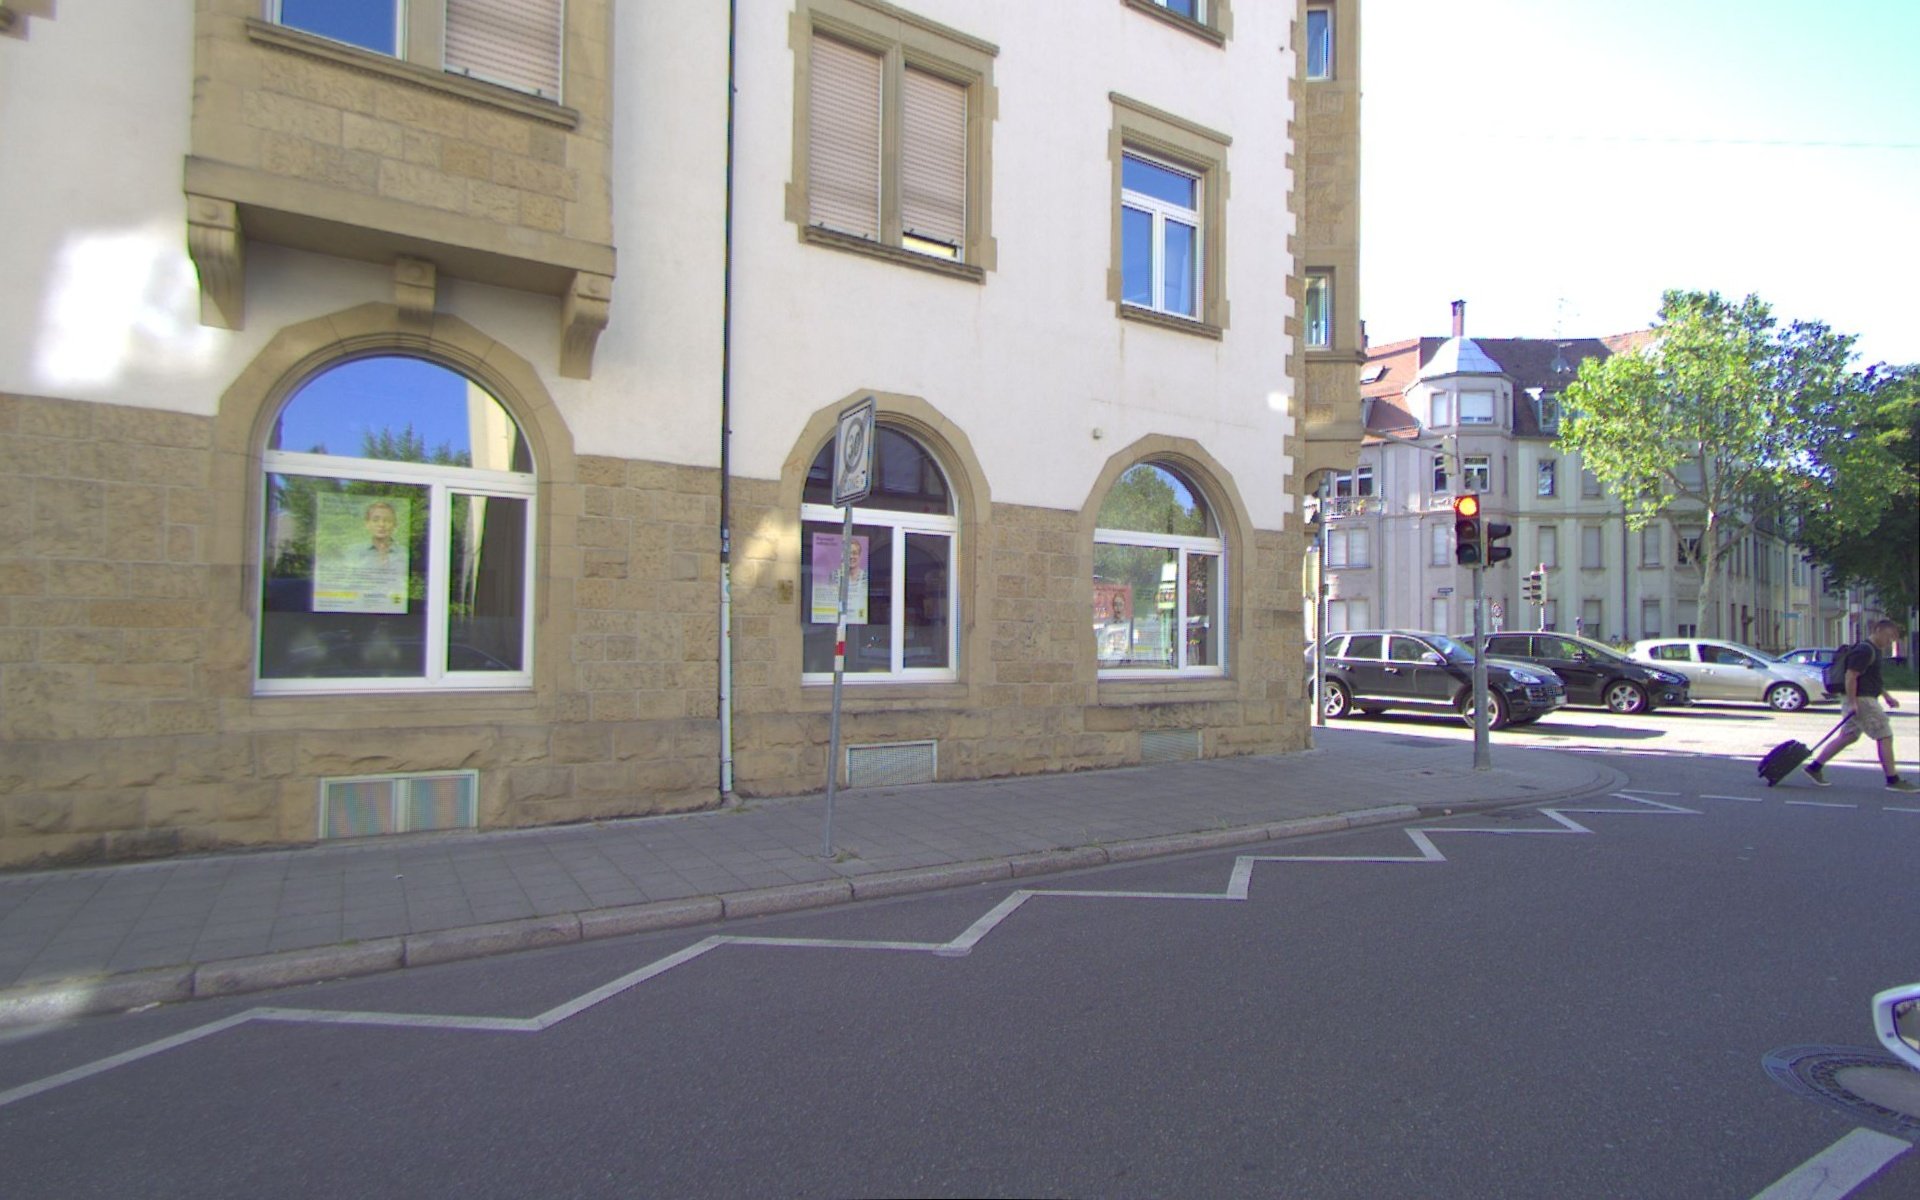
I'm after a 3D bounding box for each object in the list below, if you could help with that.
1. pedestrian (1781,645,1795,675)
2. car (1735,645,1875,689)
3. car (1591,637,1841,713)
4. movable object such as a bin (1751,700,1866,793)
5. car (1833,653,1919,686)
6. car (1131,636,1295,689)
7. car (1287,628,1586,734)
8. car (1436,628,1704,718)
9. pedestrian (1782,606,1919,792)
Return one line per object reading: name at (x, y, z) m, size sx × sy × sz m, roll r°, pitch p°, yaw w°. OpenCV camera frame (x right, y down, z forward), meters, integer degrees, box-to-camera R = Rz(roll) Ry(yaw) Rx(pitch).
pedestrian at (40.590, 2.935, 49.244) m, size 0.482 × 1.461 × 0.702 m, roll 2°, pitch 0°, yaw 38°
car at (29.877, 2.342, 35.636) m, size 3.736 × 1.419 × 1.639 m, roll -1°, pitch -2°, yaw 40°
car at (16.412, 1.555, 21.954) m, size 1.667 × 1.476 × 4.161 m, roll 1°, pitch -2°, yaw -44°
movable object such as a bin at (9.094, 1.549, 10.779) m, size 0.506 × 0.903 × 0.854 m, roll 2°, pitch -4°, yaw -42°
car at (45.456, 3.407, 49.500) m, size 1.647 × 1.476 × 3.595 m, roll 2°, pitch -2°, yaw -44°
car at (7.693, 1.866, 30.878) m, size 1.967 × 1.475 × 4.576 m, roll 2°, pitch -3°, yaw -42°
car at (8.751, 1.398, 18.783) m, size 2.064 × 1.716 × 4.651 m, roll 2°, pitch -2°, yaw -42°
car at (12.851, 1.465, 21.383) m, size 1.719 × 1.686 × 4.614 m, roll 2°, pitch -2°, yaw -45°
pedestrian at (9.595, 1.037, 10.752) m, size 0.743 × 1.872 × 1.056 m, roll 2°, pitch -4°, yaw -42°
